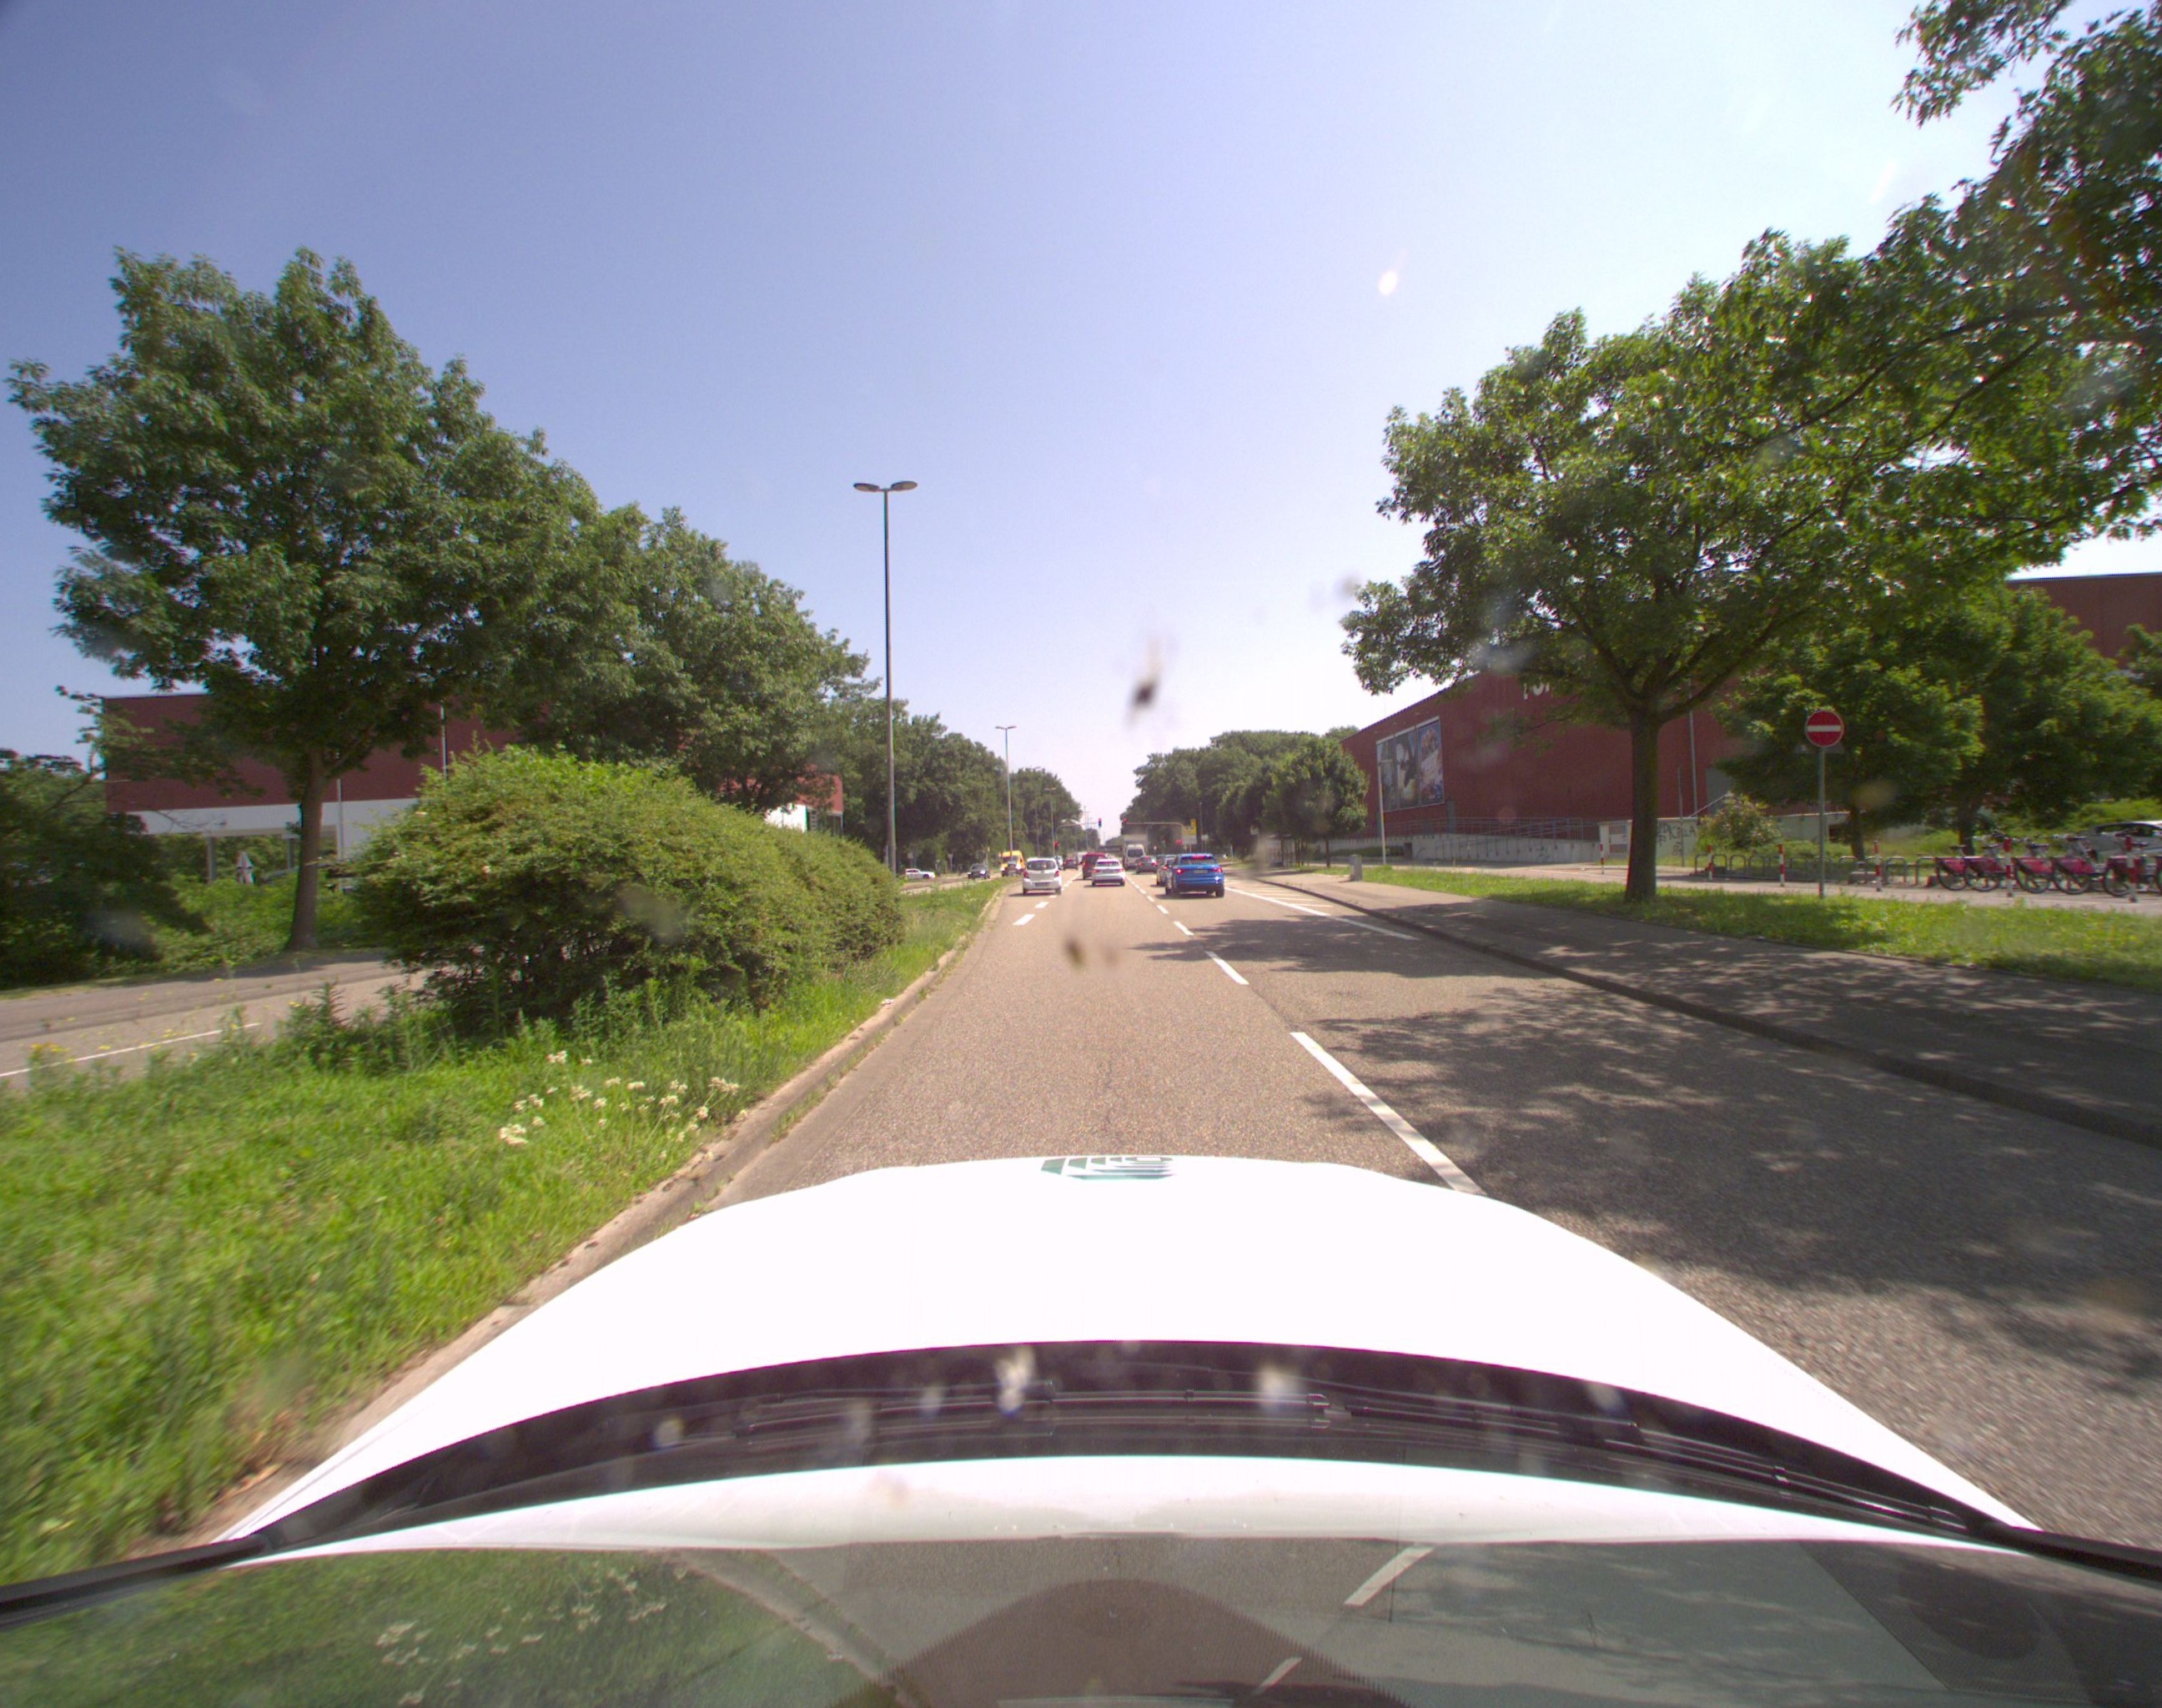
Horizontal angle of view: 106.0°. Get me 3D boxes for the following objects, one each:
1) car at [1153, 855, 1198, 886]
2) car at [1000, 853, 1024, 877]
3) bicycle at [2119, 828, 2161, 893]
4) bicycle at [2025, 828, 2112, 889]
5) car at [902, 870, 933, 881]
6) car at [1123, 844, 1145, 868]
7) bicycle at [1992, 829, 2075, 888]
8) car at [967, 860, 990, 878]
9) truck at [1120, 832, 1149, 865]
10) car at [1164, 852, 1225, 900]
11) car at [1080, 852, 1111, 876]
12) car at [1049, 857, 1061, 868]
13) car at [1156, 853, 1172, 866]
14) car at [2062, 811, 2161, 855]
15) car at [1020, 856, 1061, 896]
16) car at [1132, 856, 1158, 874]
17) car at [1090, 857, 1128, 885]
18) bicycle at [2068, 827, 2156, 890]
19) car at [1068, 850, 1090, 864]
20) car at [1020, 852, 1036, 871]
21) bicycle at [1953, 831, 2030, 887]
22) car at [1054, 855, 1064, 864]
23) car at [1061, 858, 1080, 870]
[{"bbox_3d":[4.721,0.819,41.227,1.859,1.473,4.001,-2,-1,1],"label":"car"},{"bbox_3d":[-6.921,1.066,82.178,1.772,2.282,4.754,-2,-1,2],"label":"car"},{"bbox_3d":[18.663,0.090,14.012,1.084,1.085,0.347,-3,0,1],"label":"bicycle"},{"bbox_3d":[18.697,0.086,15.424,1.084,1.085,0.407,-3,0,1],"label":"bicycle"},{"bbox_3d":[-23.022,3.037,114.812,3.981,1.398,1.586,-3,0,-6],"label":"car"},{"bbox_3d":[5.399,0.198,83.680,1.986,2.255,4.001,-3,0,1],"label":"car"},{"bbox_3d":[18.746,0.091,16.038,1.084,1.085,0.407,-3,0,1],"label":"bicycle"},{"bbox_3d":[-10.390,1.514,82.488,1.704,1.662,4.001,-2,-1,1],"label":"car"},{"bbox_3d":[6.087,-0.611,94.192,2.921,3.502,9.161,-3,0,2],"label":"truck"},{"bbox_3d":[4.112,0.779,30.202,1.801,1.593,4.352,-2,-1,2],"label":"car"},{"bbox_3d":[0.952,0.680,55.215,1.790,1.523,3.996,-2,-1,-2],"label":"car"},{"bbox_3d":[-3.357,1.055,105.106,1.364,1.308,2.692,-3,0,-1],"label":"car"},{"bbox_3d":[10.032,0.639,98.916,1.627,1.464,4.001,-3,0,1],"label":"car"},{"bbox_3d":[32.408,-0.648,24.411,1.406,1.290,3.874,-3,0,3],"label":"car"},{"bbox_3d":[-1.702,0.924,34.664,1.634,1.552,3.322,-2,-1,-3],"label":"car"},{"bbox_3d":[5.332,0.892,68.379,1.859,1.310,4.001,-3,0,1],"label":"car"},{"bbox_3d":[1.495,0.897,43.209,1.878,1.354,4.001,-2,-1,2],"label":"car"},{"bbox_3d":[18.719,0.077,14.795,1.084,1.085,0.347,-3,0,1],"label":"bicycle"},{"bbox_3d":[-0.366,0.517,129.557,2.003,2.013,3.969,-3,0,-23],"label":"car"},{"bbox_3d":[-6.382,0.923,98.144,1.775,2.282,3.996,-2,-1,-3],"label":"car"},{"bbox_3d":[18.823,0.098,16.846,1.084,1.085,0.407,-3,0,1],"label":"bicycle"},{"bbox_3d":[-4.058,1.031,151.787,1.589,1.582,3.773,-3,0,1],"label":"car"},{"bbox_3d":[-1.248,1.153,98.930,1.986,1.288,4.001,-3,0,1],"label":"car"}]
